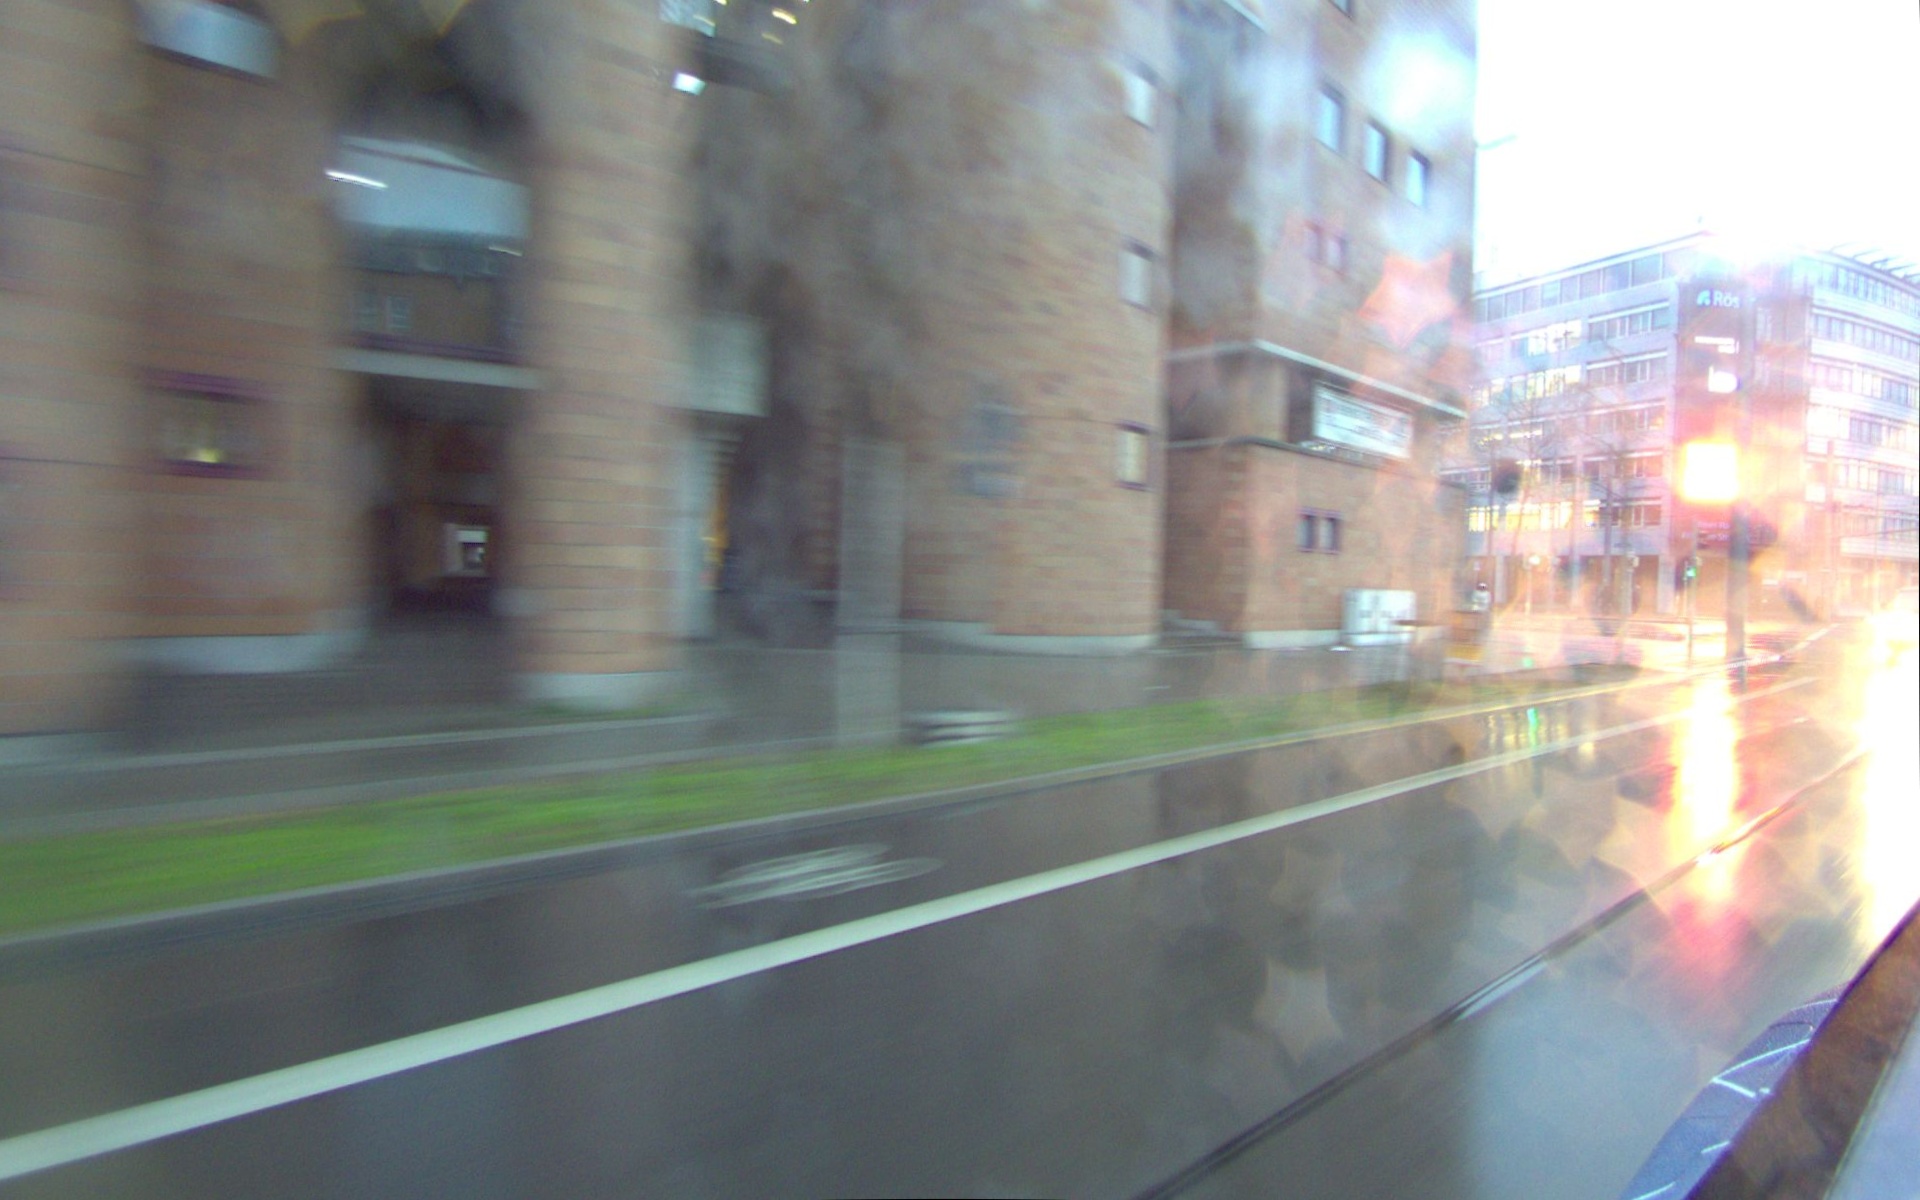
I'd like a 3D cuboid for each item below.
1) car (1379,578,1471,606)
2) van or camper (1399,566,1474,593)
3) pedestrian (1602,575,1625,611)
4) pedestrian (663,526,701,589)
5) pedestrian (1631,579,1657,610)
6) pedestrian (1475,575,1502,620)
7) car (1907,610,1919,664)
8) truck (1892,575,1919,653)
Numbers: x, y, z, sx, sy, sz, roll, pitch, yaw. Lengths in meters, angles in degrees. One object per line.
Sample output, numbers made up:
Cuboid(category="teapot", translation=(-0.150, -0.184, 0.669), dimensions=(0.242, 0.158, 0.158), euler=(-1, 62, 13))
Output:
Cuboid(category="car", translation=(24.035, -0.421, 52.462), dimensions=(1.780, 1.358, 3.993), euler=(0, 0, -36))
Cuboid(category="van or camper", translation=(35.499, -1.533, 75.547), dimensions=(1.808, 1.953, 4.745), euler=(0, 1, -38))
Cuboid(category="pedestrian", translation=(33.746, -0.351, 52.261), dimensions=(0.789, 1.833, 0.647), euler=(2, 1, 17))
Cuboid(category="pedestrian", translation=(-8.214, -1.240, 29.841), dimensions=(0.895, 1.796, 0.829), euler=(1, 1, -27))
Cuboid(category="pedestrian", translation=(40.955, -0.325, 60.574), dimensions=(1.148, 1.809, 0.766), euler=(3, 2, 41))
Cuboid(category="pedestrian", translation=(21.858, -0.121, 41.873), dimensions=(0.722, 1.809, 0.734), euler=(0, 2, -43))
Cuboid(category="car", translation=(35.484, 1.308, 35.606), dimensions=(4.595, 1.842, 1.913), euler=(1, 0, -30))
Cuboid(category="truck", translation=(25.980, 0.379, 26.408), dimensions=(4.535, 1.941, 1.908), euler=(1, 0, -41))
